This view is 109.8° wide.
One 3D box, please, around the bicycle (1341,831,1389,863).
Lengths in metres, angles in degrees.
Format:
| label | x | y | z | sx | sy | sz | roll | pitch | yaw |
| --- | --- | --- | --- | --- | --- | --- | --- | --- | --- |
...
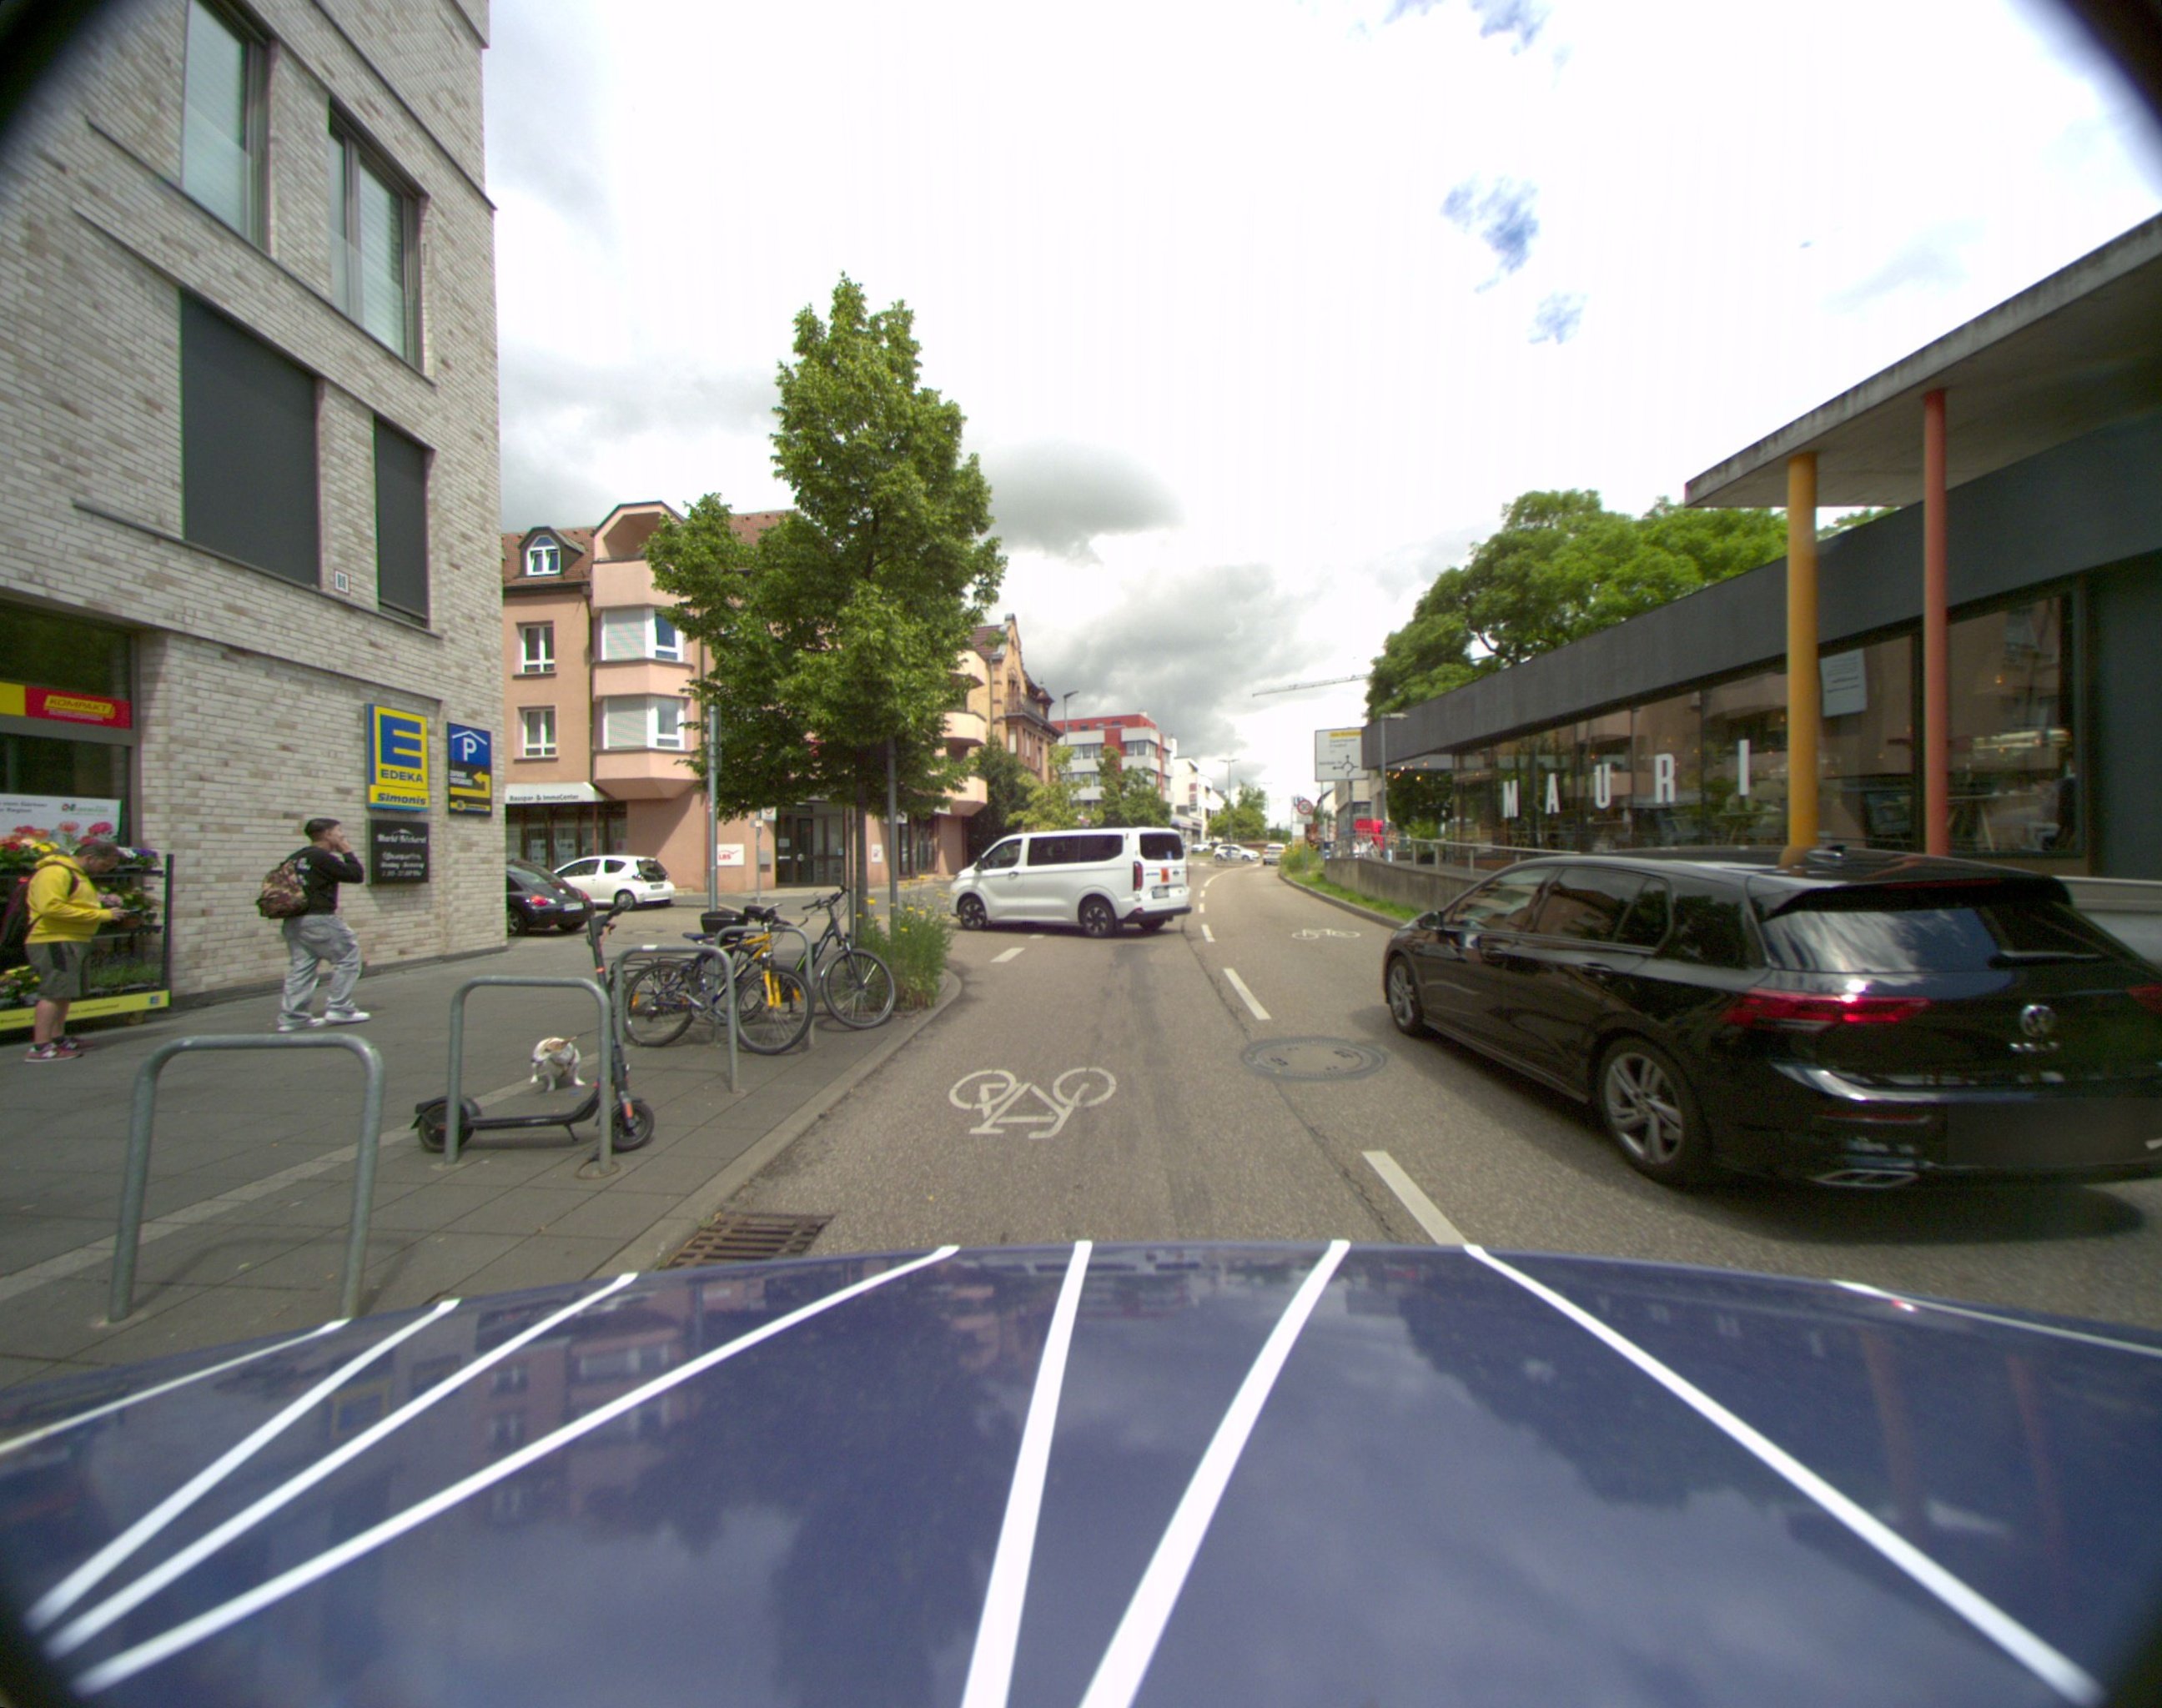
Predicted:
| label | x | y | z | sx | sy | sz | roll | pitch | yaw |
| --- | --- | --- | --- | --- | --- | --- | --- | --- | --- |
| bicycle | 10.163 | -0.238 | 27.215 | 1.549 | 1.121 | 0.534 | 0 | 1 | 11 |

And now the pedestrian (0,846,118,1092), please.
| label | x | y | z | sx | sy | sz | roll | pitch | yaw |
| --- | --- | --- | --- | --- | --- | --- | --- | --- | --- |
| pedestrian | -7.561 | 0.788 | 5.539 | 0.658 | 1.682 | 0.633 | 0 | 1 | 38 |

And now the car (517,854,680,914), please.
| label | x | y | z | sx | sy | sz | roll | pitch | yaw |
| --- | --- | --- | --- | --- | --- | --- | --- | --- | --- |
| car | -12.894 | 0.767 | 20.389 | 3.387 | 1.468 | 1.719 | 1 | 1 | 9 |

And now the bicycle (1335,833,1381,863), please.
| label | x | y | z | sx | sy | sz | roll | pitch | yaw |
| --- | --- | --- | --- | --- | --- | --- | --- | --- | --- |
| bicycle | 10.338 | -0.222 | 28.408 | 1.549 | 1.121 | 0.534 | 0 | 1 | 11 |

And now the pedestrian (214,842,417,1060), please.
| label | x | y | z | sx | sy | sz | roll | pitch | yaw |
| --- | --- | --- | --- | --- | --- | --- | --- | --- | --- |
| pedestrian | -6.503 | 0.767 | 6.523 | 0.659 | 1.731 | 1.018 | 0 | 1 | 3 |

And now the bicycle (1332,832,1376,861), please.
| label | x | y | z | sx | sy | sz | roll | pitch | yaw |
| --- | --- | --- | --- | --- | --- | --- | --- | --- | --- |
| bicycle | 10.743 | -0.297 | 29.944 | 1.549 | 1.121 | 0.534 | 0 | 1 | 11 |

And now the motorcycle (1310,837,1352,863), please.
| label | x | y | z | sx | sy | sz | roll | pitch | yaw |
| --- | --- | --- | --- | --- | --- | --- | --- | --- | --- |
| motorcycle | 14.201 | -0.233 | 43.239 | 2.192 | 1.442 | 0.648 | 0 | 3 | 10 |

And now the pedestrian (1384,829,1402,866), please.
| label | x | y | z | sx | sy | sz | roll | pitch | yaw |
| --- | --- | --- | --- | --- | --- | --- | --- | --- | --- |
| pedestrian | 13.924 | -0.278 | 33.886 | 0.660 | 1.619 | 0.801 | -1 | 0 | 19 |

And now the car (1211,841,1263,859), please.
| label | x | y | z | sx | sy | sz | roll | pitch | yaw |
| --- | --- | --- | --- | --- | --- | --- | --- | --- | --- |
| car | 13.588 | -0.340 | 66.398 | 4.042 | 1.391 | 1.820 | -1 | 2 | 34 |

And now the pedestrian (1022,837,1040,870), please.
| label | x | y | z | sx | sy | sz | roll | pitch | yaw |
| --- | --- | --- | --- | --- | --- | --- | --- | --- | --- |
| pedestrian | -2.569 | -0.031 | 38.988 | 0.717 | 1.676 | 0.945 | 0 | 3 | 7 |

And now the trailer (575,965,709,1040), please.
| label | x | y | z | sx | sy | sz | roll | pitch | yaw |
| --- | --- | --- | --- | --- | --- | --- | --- | --- | --- |
| trailer | -4.066 | 1.366 | 7.090 | 0.721 | 0.525 | 0.812 | -1 | 1 | 8 |

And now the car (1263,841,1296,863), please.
| label | x | y | z | sx | sy | sz | roll | pitch | yaw |
| --- | --- | --- | --- | --- | --- | --- | --- | --- | --- |
| car | 15.244 | -0.188 | 58.124 | 1.824 | 1.576 | 4.171 | 1 | 2 | 23 |

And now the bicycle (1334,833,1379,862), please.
| label | x | y | z | sx | sy | sz | roll | pitch | yaw |
| --- | --- | --- | --- | --- | --- | --- | --- | --- | --- |
| bicycle | 10.551 | -0.245 | 29.160 | 1.549 | 1.121 | 0.534 | 0 | 1 | 11 |

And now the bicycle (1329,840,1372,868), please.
| label | x | y | z | sx | sy | sz | roll | pitch | yaw |
| --- | --- | --- | --- | --- | --- | --- | --- | --- | --- |
| bicycle | 10.878 | -0.008 | 30.708 | 1.549 | 1.121 | 0.534 | 0 | 1 | 11 |

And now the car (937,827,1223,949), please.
| label | x | y | z | sx | sy | sz | roll | pitch | yaw |
| --- | --- | --- | --- | --- | --- | --- | --- | --- | --- |
| car | -0.171 | 0.614 | 14.910 | 5.379 | 2.002 | 2.004 | -2 | 1 | 36 |

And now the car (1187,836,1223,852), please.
| label | x | y | z | sx | sy | sz | roll | pitch | yaw |
| --- | --- | --- | --- | --- | --- | --- | --- | --- | --- |
| car | 14.043 | -1.121 | 85.819 | 4.007 | 1.653 | 1.838 | -4 | 3 | -41 |

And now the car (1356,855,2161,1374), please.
| label | x | y | z | sx | sy | sz | roll | pitch | yaw |
| --- | --- | --- | --- | --- | --- | --- | --- | --- | --- |
| car | 3.246 | 0.781 | 4.373 | 1.777 | 1.455 | 4.234 | -2 | 0 | 0 |

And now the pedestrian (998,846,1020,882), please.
| label | x | y | z | sx | sy | sz | roll | pitch | yaw |
| --- | --- | --- | --- | --- | --- | --- | --- | --- | --- |
| pedestrian | -3.266 | 0.441 | 34.615 | 0.745 | 1.629 | 0.928 | 2 | 1 | 10 |

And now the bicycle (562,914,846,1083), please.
| label | x | y | z | sx | sy | sz | roll | pitch | yaw |
| --- | --- | --- | --- | --- | --- | --- | --- | --- | --- |
| bicycle | -2.852 | 1.068 | 5.874 | 1.826 | 1.125 | 0.756 | 0 | 1 | 4 |

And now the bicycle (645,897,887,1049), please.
| label | x | y | z | sx | sy | sz | roll | pitch | yaw |
| --- | --- | --- | --- | --- | --- | --- | --- | --- | --- |
| bicycle | -2.747 | 1.016 | 6.755 | 1.826 | 1.194 | 0.756 | 0 | 1 | 4 |

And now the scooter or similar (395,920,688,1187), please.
| label | x | y | z | sx | sy | sz | roll | pitch | yaw |
| --- | --- | --- | --- | --- | --- | --- | --- | --- | --- |
| scooter or similar | -2.791 | 1.002 | 3.990 | 1.199 | 1.242 | 0.494 | 0 | 1 | 4 |

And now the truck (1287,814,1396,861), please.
| label | x | y | z | sx | sy | sz | roll | pitch | yaw |
| --- | --- | --- | --- | --- | --- | --- | --- | --- | --- |
| truck | 23.771 | -1.606 | 69.124 | 10.862 | 3.821 | 2.676 | -3 | 2 | -29 |

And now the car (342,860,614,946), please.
| label | x | y | z | sx | sy | sz | roll | pitch | yaw |
| --- | --- | --- | --- | --- | --- | --- | --- | --- | --- |
| car | -11.540 | 0.899 | 14.722 | 3.903 | 1.468 | 1.783 | 1 | 1 | 3 |

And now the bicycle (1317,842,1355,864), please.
| label | x | y | z | sx | sy | sz | roll | pitch | yaw |
| --- | --- | --- | --- | --- | --- | --- | --- | --- | --- |
| bicycle | 12.472 | -0.051 | 37.218 | 1.689 | 1.075 | 0.515 | 0 | 0 | 7 |
